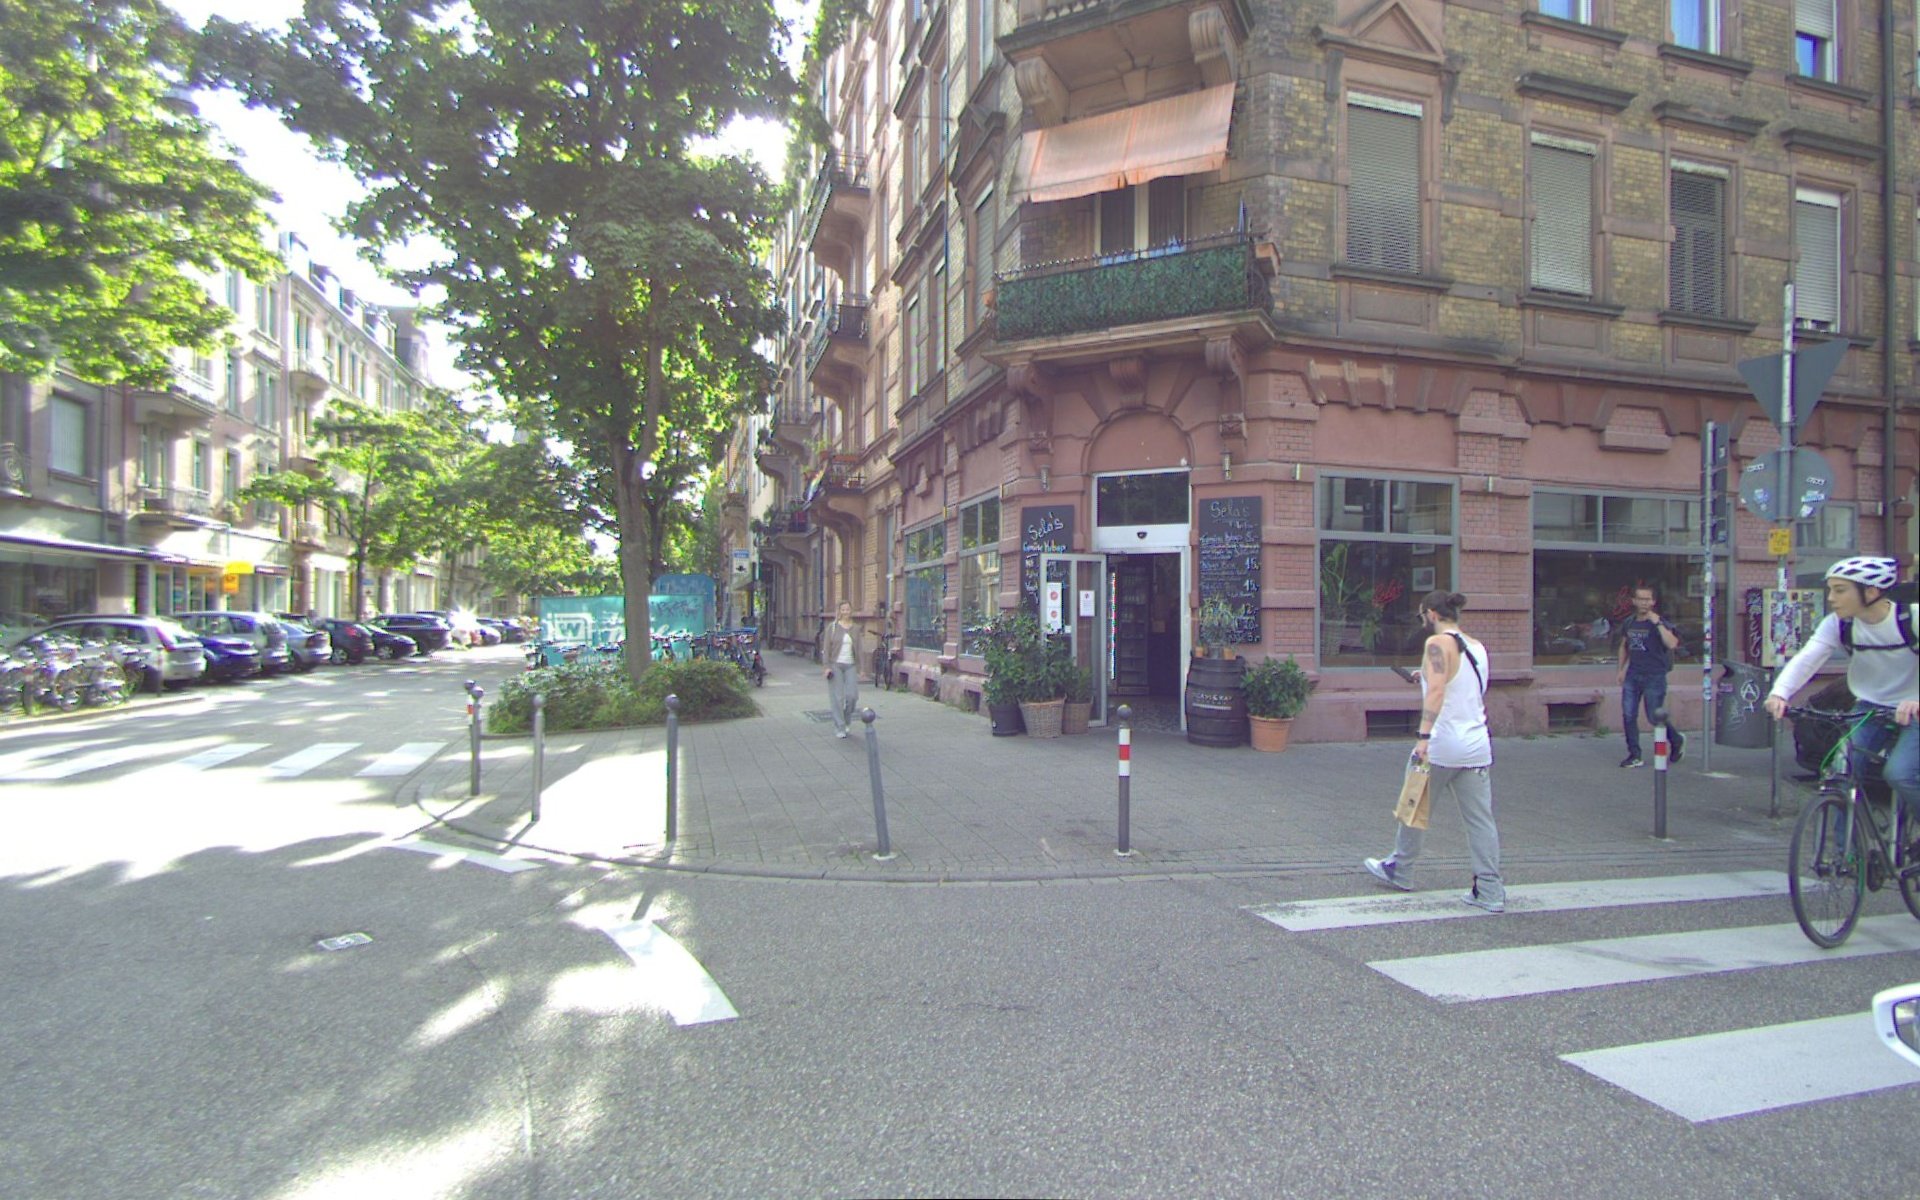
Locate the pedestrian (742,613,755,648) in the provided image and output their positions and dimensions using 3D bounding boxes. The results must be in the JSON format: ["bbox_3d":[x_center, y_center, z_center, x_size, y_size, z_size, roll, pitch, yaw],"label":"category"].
[{"bbox_3d":[-10.161,1.462,48.229,0.559,1.705,0.625,0,-1,-6],"label":"pedestrian"}]

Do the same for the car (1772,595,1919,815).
[{"bbox_3d":[9.857,0.879,9.159,4.336,1.797,1.758,1,0,-18],"label":"car"}]

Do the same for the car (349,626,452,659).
[{"bbox_3d":[-22.020,1.670,39.612,3.284,1.270,1.372,0,-2,-16],"label":"car"}]

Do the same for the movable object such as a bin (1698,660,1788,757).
[{"bbox_3d":[6.321,0.862,8.113,0.469,0.724,0.382,0,1,-21],"label":"movable object such as a bin"}]

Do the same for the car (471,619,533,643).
[{"bbox_3d":[-28.496,1.926,62.568,3.284,1.495,1.402,0,-2,-16],"label":"car"}]

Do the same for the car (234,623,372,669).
[{"bbox_3d":[-20.252,1.417,31.091,3.284,1.350,1.372,0,-2,-16],"label":"car"}]

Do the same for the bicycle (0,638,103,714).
[{"bbox_3d":[-15.748,1.264,17.179,0.639,1.117,2.505,-1,0,-15],"label":"bicycle"}]

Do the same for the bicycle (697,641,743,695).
[{"bbox_3d":[-4.878,1.351,20.330,0.583,0.981,2.066,-1,0,-22],"label":"bicycle"}]

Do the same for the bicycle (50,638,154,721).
[{"bbox_3d":[-14.075,1.265,16.551,0.471,1.240,2.284,0,-1,-19],"label":"bicycle"}]

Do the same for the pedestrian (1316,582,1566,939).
[{"bbox_3d":[2.583,0.771,5.415,0.799,1.693,1.009,1,-1,-44],"label":"pedestrian"}]

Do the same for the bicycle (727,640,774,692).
[{"bbox_3d":[-4.407,1.349,21.036,0.583,0.981,2.066,-1,0,-22],"label":"bicycle"}]

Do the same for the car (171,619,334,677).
[{"bbox_3d":[-18.873,1.271,26.924,3.284,1.462,1.372,0,-2,-16],"label":"car"}]

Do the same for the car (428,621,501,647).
[{"bbox_3d":[-26.481,1.807,53.801,3.284,1.333,1.402,0,-2,-16],"label":"car"}]

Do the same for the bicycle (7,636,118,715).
[{"bbox_3d":[-14.571,1.191,16.381,0.471,1.173,2.282,0,-1,-19],"label":"bicycle"}]

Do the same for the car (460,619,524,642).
[{"bbox_3d":[-27.948,1.845,60.093,3.284,1.333,1.402,0,-2,-16],"label":"car"}]

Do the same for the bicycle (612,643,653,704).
[{"bbox_3d":[-6.209,1.353,18.985,0.583,1.025,2.066,-1,0,-22],"label":"bicycle"}]

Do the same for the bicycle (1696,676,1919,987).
[{"bbox_3d":[4.555,1.020,4.924,2.090,1.236,0.698,3,-3,-28],"label":"bicycle"}]

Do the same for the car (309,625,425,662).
[{"bbox_3d":[-21.125,1.540,35.877,3.284,1.270,1.372,0,-2,-16],"label":"car"}]

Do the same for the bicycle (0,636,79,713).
[{"bbox_3d":[-15.055,1.163,16.175,0.471,1.149,2.254,0,-1,-19],"label":"bicycle"}]

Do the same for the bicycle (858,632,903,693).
[{"bbox_3d":[-1.557,1.201,19.553,0.519,1.081,1.777,1,0,-16],"label":"bicycle"}]

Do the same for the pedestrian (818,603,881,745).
[{"bbox_3d":[-1.335,0.855,12.025,0.604,1.599,0.808,-3,1,-12],"label":"pedestrian"}]

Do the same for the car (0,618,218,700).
[{"bbox_3d":[-17.218,1.129,19.963,3.638,1.496,1.572,0,0,-16],"label":"car"}]

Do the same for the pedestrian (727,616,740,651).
[{"bbox_3d":[-10.840,1.600,48.147,0.531,1.685,0.588,0,-1,-6],"label":"pedestrian"}]

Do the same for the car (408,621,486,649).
[{"bbox_3d":[-25.941,1.768,50.862,3.284,1.333,1.402,0,-2,-16],"label":"car"}]

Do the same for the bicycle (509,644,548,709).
[{"bbox_3d":[-7.865,1.357,18.351,0.583,1.043,2.131,-1,0,-22],"label":"bicycle"}]

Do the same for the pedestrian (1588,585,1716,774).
[{"bbox_3d":[7.122,0.783,10.362,0.843,1.865,0.676,0,1,-16],"label":"pedestrian"}]

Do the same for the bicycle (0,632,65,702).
[{"bbox_3d":[-16.289,1.129,16.979,0.697,1.116,2.505,-1,-1,-16],"label":"bicycle"}]

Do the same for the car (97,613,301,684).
[{"bbox_3d":[-18.561,1.152,24.658,3.638,1.618,1.572,0,0,-16],"label":"car"}]

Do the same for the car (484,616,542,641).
[{"bbox_3d":[-29.837,1.898,67.065,3.303,1.615,1.591,0,0,-15],"label":"car"}]

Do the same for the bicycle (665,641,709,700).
[{"bbox_3d":[-5.373,1.352,19.694,0.583,1.025,2.066,-1,0,-22],"label":"bicycle"}]

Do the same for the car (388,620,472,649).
[{"bbox_3d":[-25.208,1.629,47.837,3.284,1.333,1.402,0,-2,-16],"label":"car"}]

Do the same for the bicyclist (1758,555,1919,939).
[{"bbox_3d":[4.632,0.682,4.969,1.098,1.699,0.698,3,-2,-28],"label":"bicyclist"}]

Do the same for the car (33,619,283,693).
[{"bbox_3d":[-17.628,1.200,22.277,4.007,1.496,1.572,0,0,-16],"label":"car"}]

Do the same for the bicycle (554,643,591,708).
[{"bbox_3d":[-7.158,1.358,18.519,0.583,1.043,2.066,-1,0,-22],"label":"bicycle"}]
